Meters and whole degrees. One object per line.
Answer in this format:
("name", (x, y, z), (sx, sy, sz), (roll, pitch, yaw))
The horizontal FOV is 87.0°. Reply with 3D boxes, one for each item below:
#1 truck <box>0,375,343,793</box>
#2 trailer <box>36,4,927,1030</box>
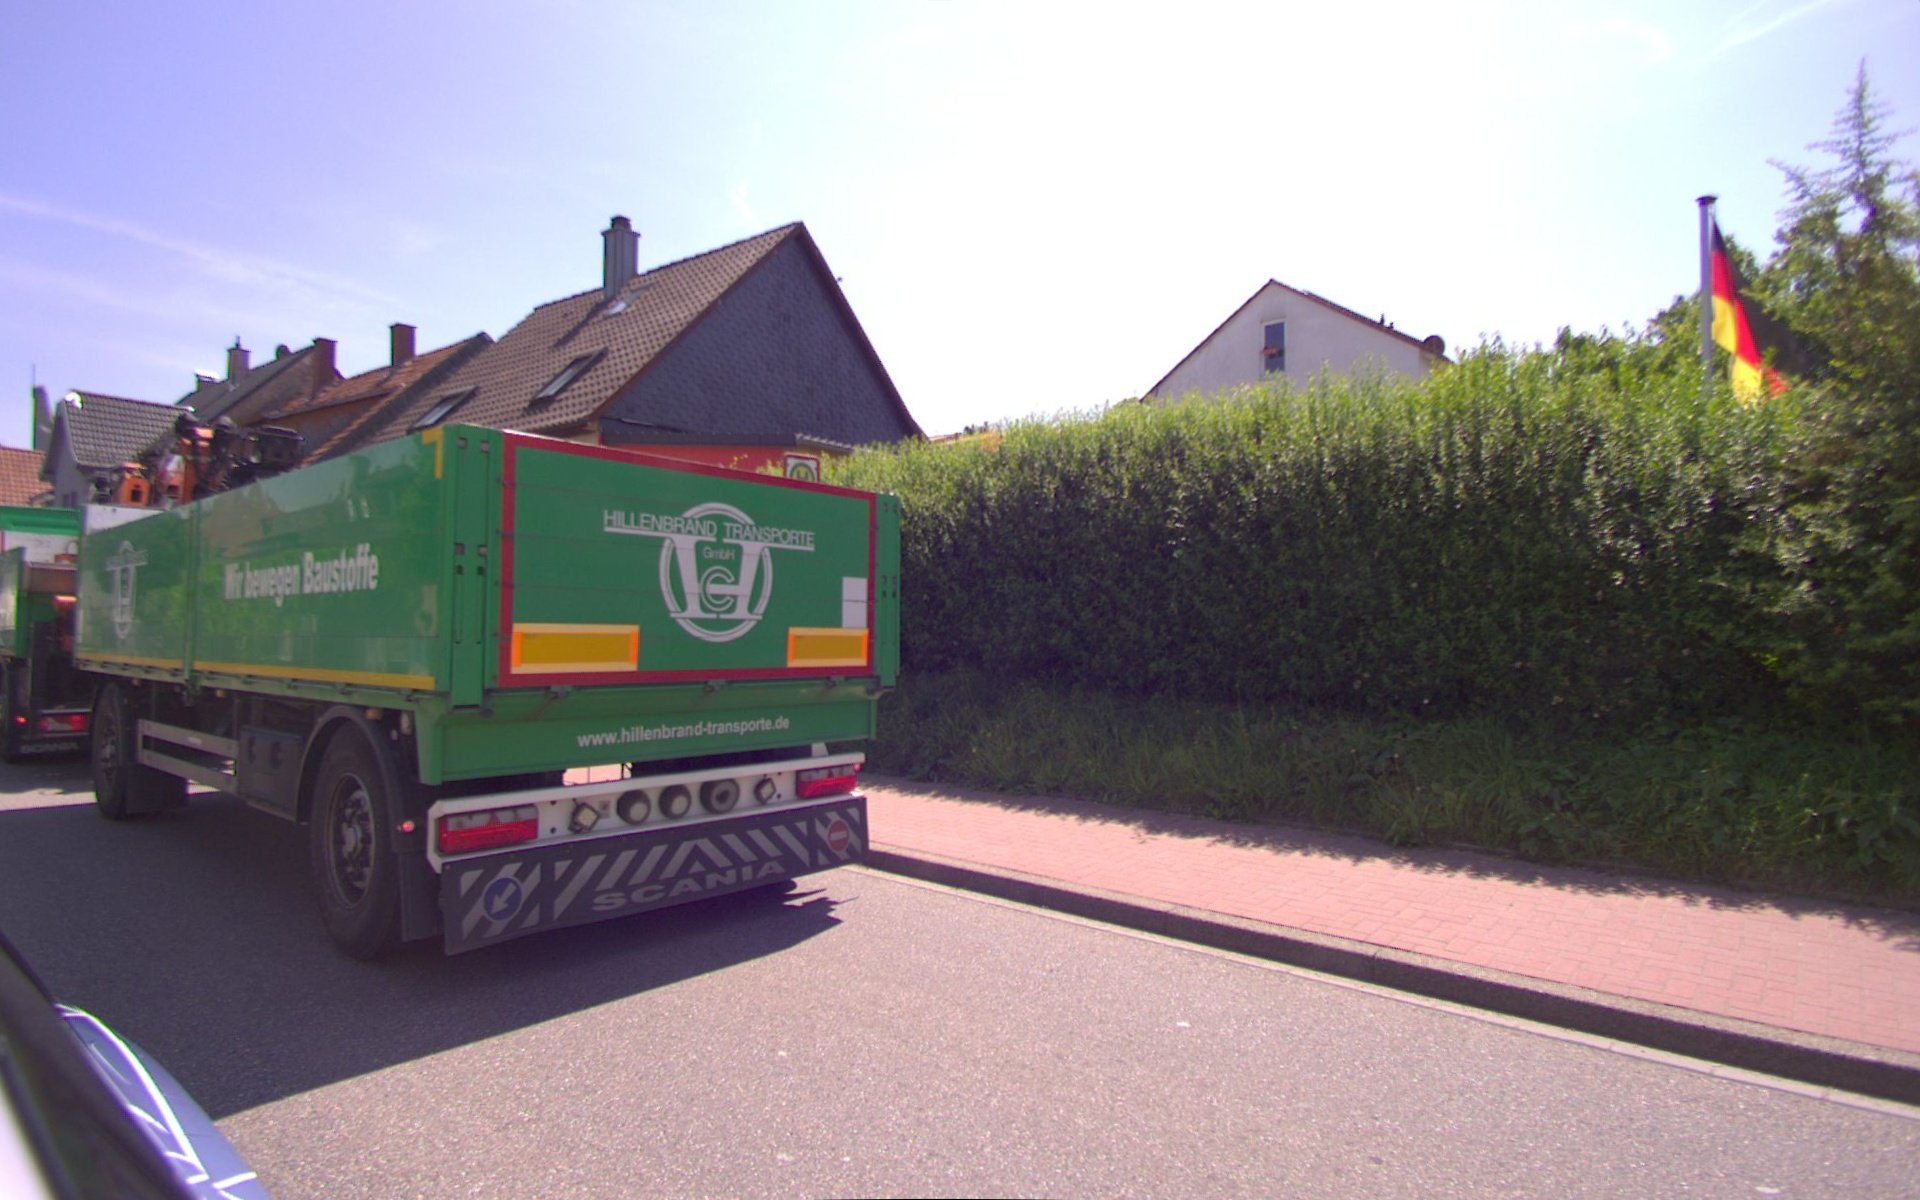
("truck", (-11.395, -0.001, 13.249), (10.070, 3.729, 2.541), (-2, -3, 40))
("trailer", (-4.204, -0.203, 7.309), (8.454, 3.677, 2.504), (-2, -3, 40))
